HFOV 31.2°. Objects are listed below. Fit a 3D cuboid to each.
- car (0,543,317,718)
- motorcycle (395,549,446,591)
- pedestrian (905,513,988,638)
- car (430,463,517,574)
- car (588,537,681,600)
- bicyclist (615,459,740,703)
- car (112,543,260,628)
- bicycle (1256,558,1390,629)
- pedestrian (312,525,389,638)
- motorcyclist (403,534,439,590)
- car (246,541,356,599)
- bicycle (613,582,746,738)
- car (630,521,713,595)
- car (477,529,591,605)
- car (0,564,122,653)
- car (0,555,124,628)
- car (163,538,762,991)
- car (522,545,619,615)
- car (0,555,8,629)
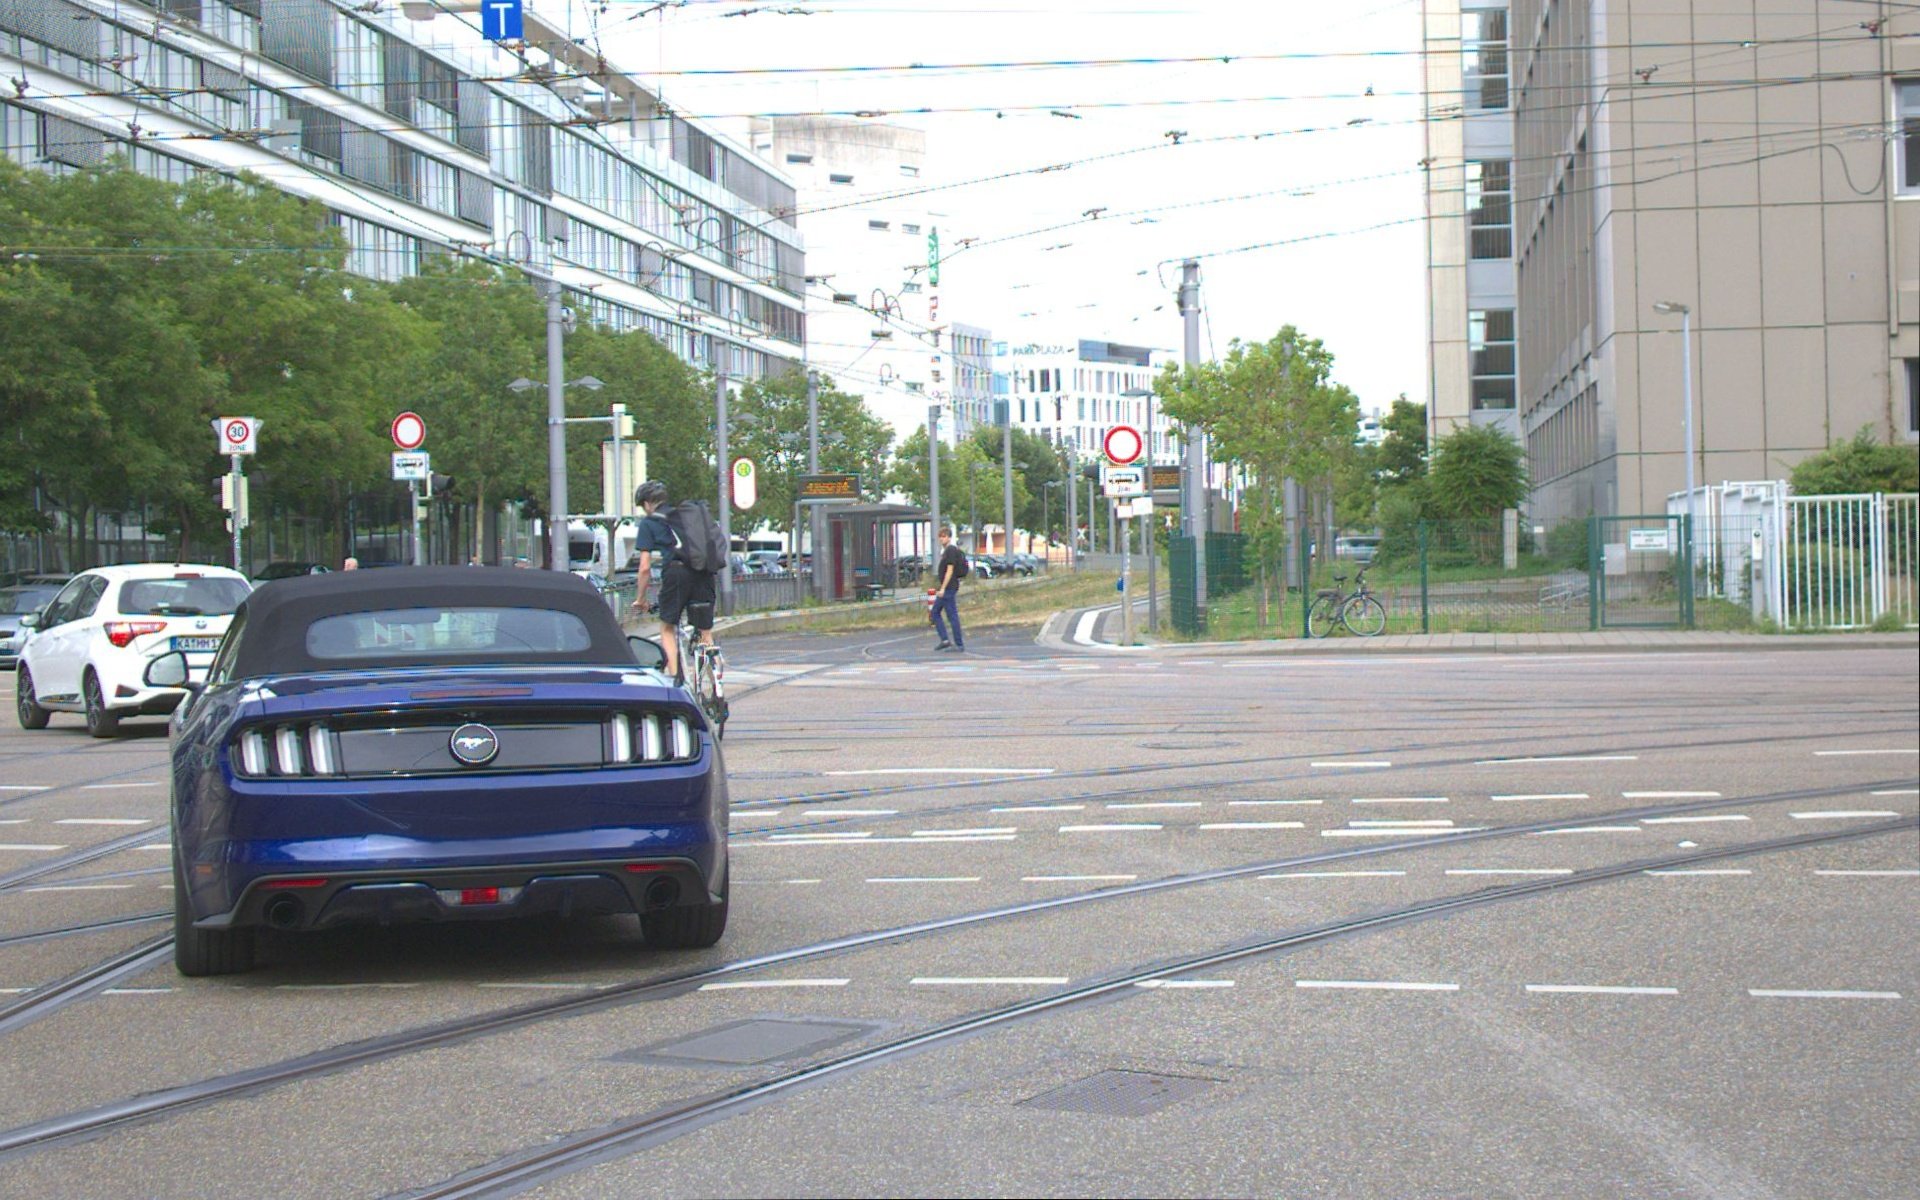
[{"bbox_3d":[-7.359,0.234,31.092,1.835,1.434,4.188,-2,1,-28],"label":"car"},{"bbox_3d":[-15.584,-0.880,99.330,0.825,1.195,2.502,0,1,6],"label":"motorcycle"},{"bbox_3d":[-0.203,-0.387,53.143,1.086,1.891,0.901,-1,1,11],"label":"pedestrian"},{"bbox_3d":[-16.367,-2.734,115.814,1.986,3.624,4.512,1,1,3],"label":"car"},{"bbox_3d":[-8.571,-0.850,90.864,1.868,1.600,4.213,-1,1,2],"label":"car"},{"bbox_3d":[-2.110,-0.151,25.822,0.796,1.779,1.233,-1,1,0],"label":"bicyclist"},{"bbox_3d":[-15.941,-0.330,71.007,1.715,1.654,4.132,1,1,6],"label":"car"},{"bbox_3d":[5.500,-0.098,52.205,0.632,0.977,2.158,-2,-1,-39],"label":"bicycle"},{"bbox_3d":[-10.132,-0.318,57.161,0.989,1.849,0.901,-1,1,9],"label":"pedestrian"},{"bbox_3d":[-15.577,-1.088,99.340,0.819,1.611,0.882,0,1,6],"label":"motorcyclist"},{"bbox_3d":[-18.538,-0.870,96.903,1.986,1.551,4.512,1,1,3],"label":"car"},{"bbox_3d":[-2.086,0.426,25.813,0.800,1.083,2.132,-1,1,0],"label":"bicycle"},{"bbox_3d":[-8.034,-1.184,96.026,1.785,1.980,4.121,-1,1,2],"label":"car"},{"bbox_3d":[-9.545,-0.760,77.362,1.879,1.623,4.087,-1,1,2],"label":"car"},{"bbox_3d":[-16.994,0.134,63.325,1.668,1.501,4.234,1,1,6],"label":"car"},{"bbox_3d":[-20.797,-0.215,78.816,1.830,1.551,4.216,1,1,6],"label":"car"},{"bbox_3d":[-1.995,0.481,13.005,1.875,1.399,4.283,0,1,-12],"label":"car"},{"bbox_3d":[-9.370,-0.495,82.975,1.704,1.600,4.079,-1,1,2],"label":"car"},{"bbox_3d":[-21.533,-0.150,71.626,1.830,1.551,4.216,1,1,6],"label":"car"}]
